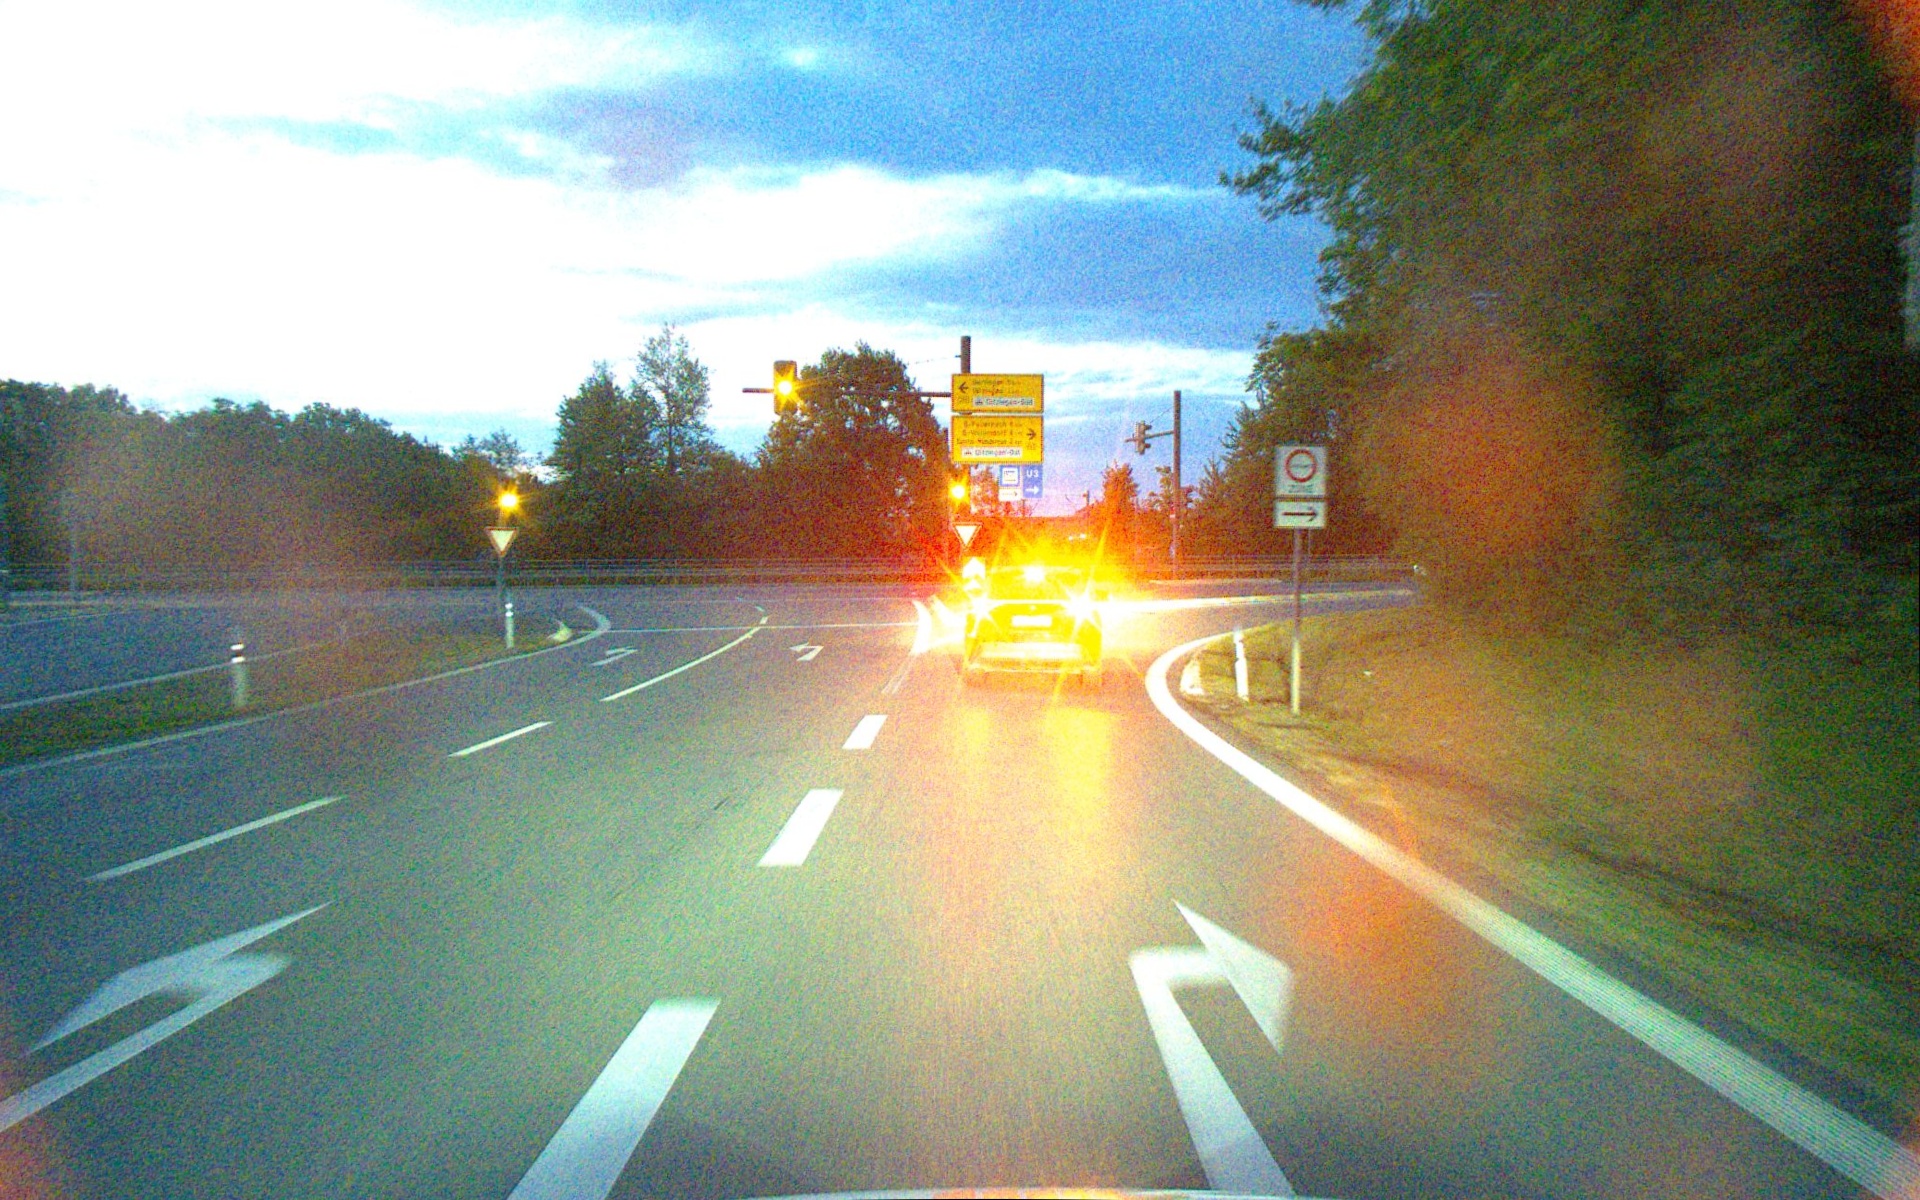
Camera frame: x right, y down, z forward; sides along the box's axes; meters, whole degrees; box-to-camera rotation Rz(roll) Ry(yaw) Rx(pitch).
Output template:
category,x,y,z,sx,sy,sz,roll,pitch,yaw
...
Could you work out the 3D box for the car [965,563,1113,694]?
category,x,y,z,sx,sy,sz,roll,pitch,yaw
car,1.029,0.318,23.413,1.862,1.648,4.557,1,1,0
